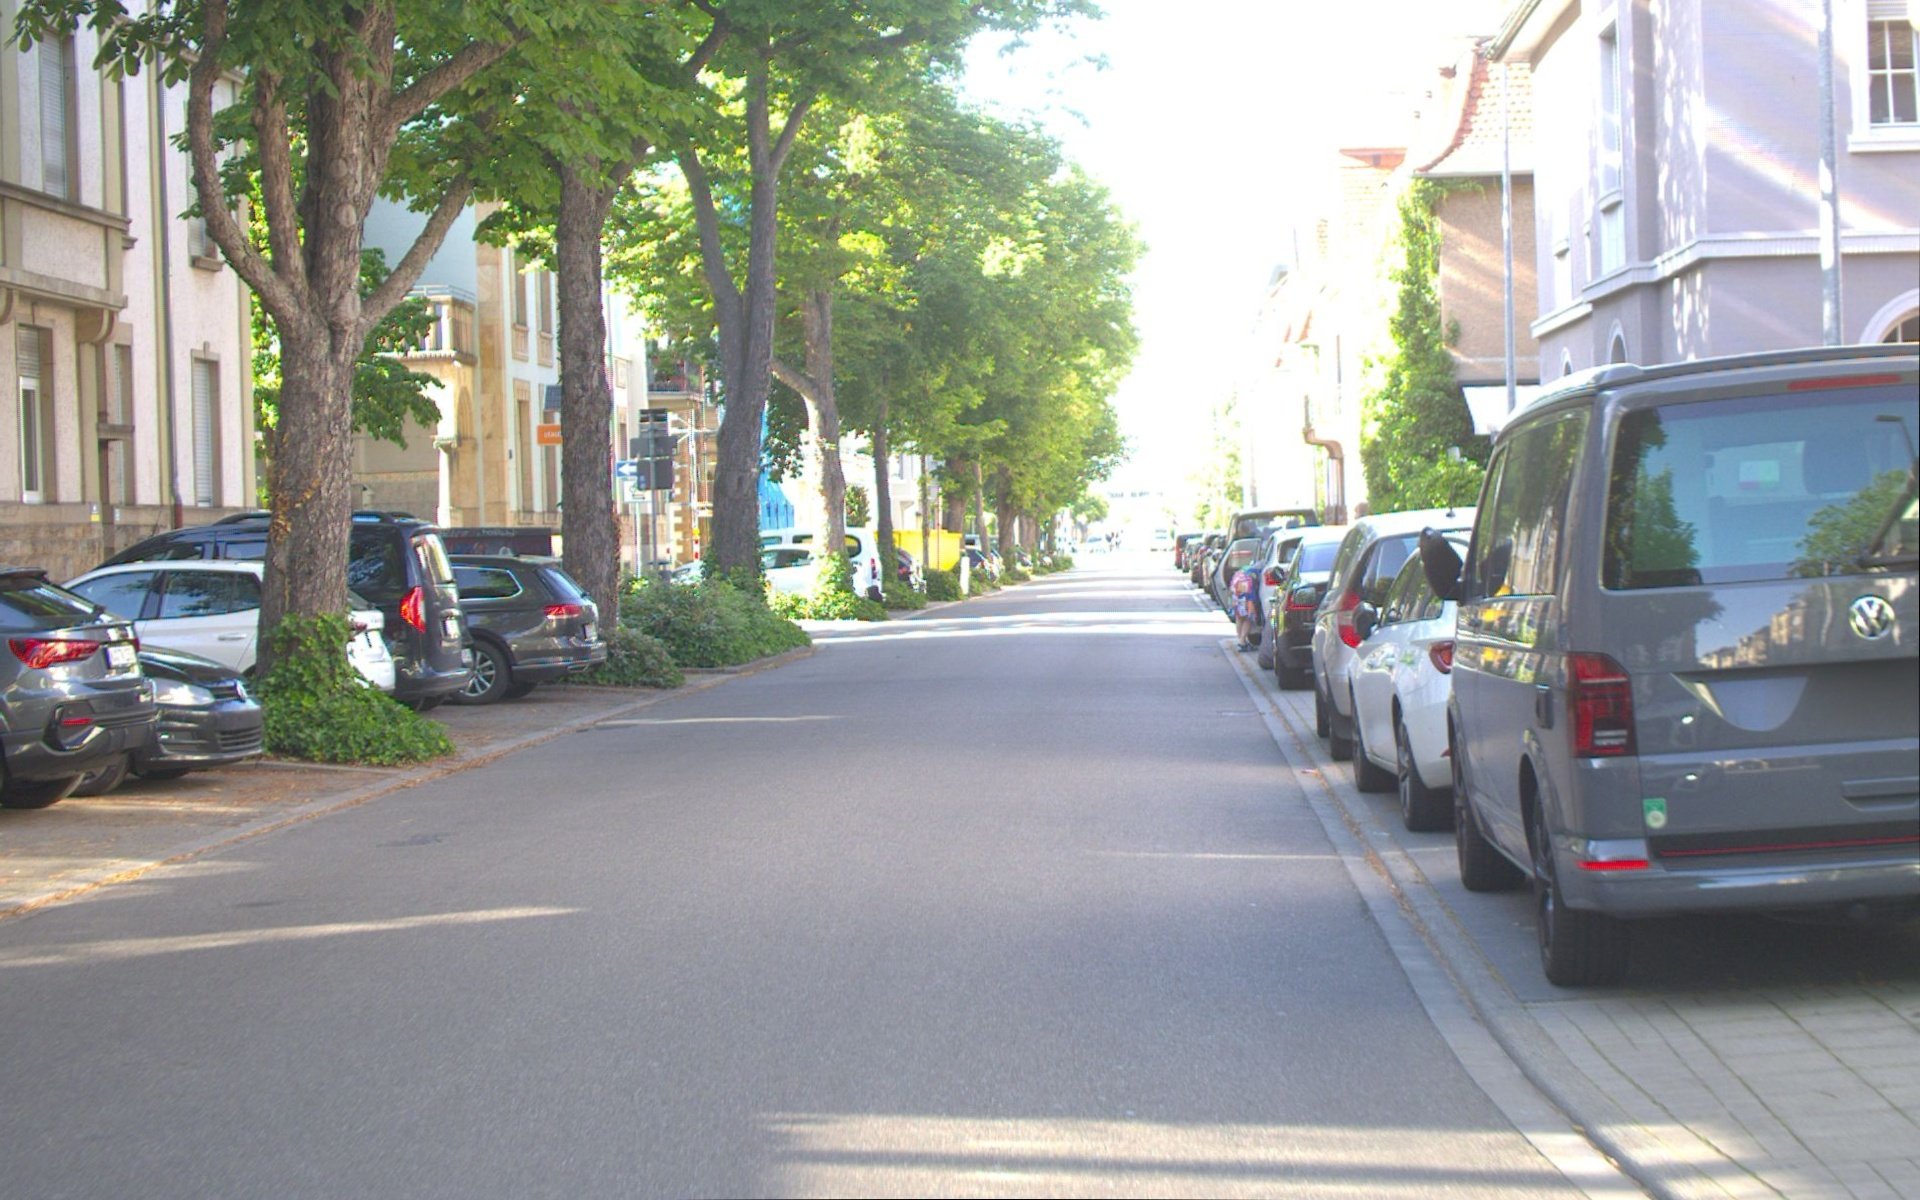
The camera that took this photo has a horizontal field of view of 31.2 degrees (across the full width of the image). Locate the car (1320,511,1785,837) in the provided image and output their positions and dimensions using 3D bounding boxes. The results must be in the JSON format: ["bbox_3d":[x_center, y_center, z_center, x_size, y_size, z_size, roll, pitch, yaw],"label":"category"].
[{"bbox_3d":[2.974,0.292,18.126,1.679,1.452,4.439,-2,1,1],"label":"car"}]

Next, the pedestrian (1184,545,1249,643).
[{"bbox_3d":[3.374,-0.080,45.268,0.723,1.253,0.646,-2,1,-4],"label":"pedestrian"}]

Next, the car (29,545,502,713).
[{"bbox_3d":[-6.398,0.248,31.975,3.979,1.432,1.829,-1,1,1],"label":"car"}]

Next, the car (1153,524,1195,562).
[{"bbox_3d":[9.622,-2.574,154.483,1.771,1.625,3.866,-1,1,4],"label":"car"}]

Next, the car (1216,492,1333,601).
[{"bbox_3d":[5.925,-1.042,65.263,1.904,1.864,4.673,-4,1,3],"label":"car"}]

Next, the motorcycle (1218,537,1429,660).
[{"bbox_3d":[4.072,-0.023,38.602,2.193,1.334,0.922,0,2,-5],"label":"motorcycle"}]

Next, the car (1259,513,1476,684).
[{"bbox_3d":[3.988,-0.068,34.297,1.855,1.488,4.607,-3,1,4],"label":"car"}]

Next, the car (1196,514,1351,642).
[{"bbox_3d":[4.153,-0.322,46.069,1.699,1.534,4.155,-4,1,2],"label":"car"}]

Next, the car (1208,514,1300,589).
[{"bbox_3d":[6.139,-1.036,72.093,1.691,1.394,3.805,-4,1,3],"label":"car"}]

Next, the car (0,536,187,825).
[{"bbox_3d":[-6.719,0.436,19.969,3.987,1.587,1.859,0,1,3],"label":"car"}]

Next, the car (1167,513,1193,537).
[{"bbox_3d":[15.737,-5.366,246.008,1.771,1.625,3.866,-1,1,4],"label":"car"}]

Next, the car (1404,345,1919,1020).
[{"bbox_3d":[2.757,0.168,12.399,1.865,1.909,4.782,-3,1,3],"label":"car"}]

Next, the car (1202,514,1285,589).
[{"bbox_3d":[6.381,-1.109,77.612,1.789,1.612,3.866,-1,1,4],"label":"car"}]

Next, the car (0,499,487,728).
[{"bbox_3d":[-6.234,0.099,29.658,3.979,1.849,1.829,-1,1,2],"label":"car"}]

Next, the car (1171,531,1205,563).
[{"bbox_3d":[12.147,-2.812,182.943,1.771,1.625,3.866,-1,1,4],"label":"car"}]

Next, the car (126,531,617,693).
[{"bbox_3d":[-5.837,0.103,34.442,4.532,1.498,1.892,-1,1,2],"label":"car"}]

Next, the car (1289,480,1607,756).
[{"bbox_3d":[3.268,0.046,23.694,1.789,1.594,4.000,-4,2,4],"label":"car"}]

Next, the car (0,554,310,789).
[{"bbox_3d":[-6.436,0.439,22.464,3.903,1.441,1.859,0,1,8],"label":"car"}]

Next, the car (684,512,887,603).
[{"bbox_3d":[-3.496,-0.858,69.271,3.987,1.754,1.798,1,1,0],"label":"car"}]

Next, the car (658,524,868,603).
[{"bbox_3d":[-3.810,-0.709,66.950,3.987,1.459,1.798,1,0,0],"label":"car"}]

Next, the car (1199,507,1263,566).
[{"bbox_3d":[7.886,-1.866,100.194,1.771,1.625,3.866,-1,1,4],"label":"car"}]

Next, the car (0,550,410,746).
[{"bbox_3d":[-6.504,0.366,27.266,3.987,1.443,1.742,-1,1,0],"label":"car"}]
